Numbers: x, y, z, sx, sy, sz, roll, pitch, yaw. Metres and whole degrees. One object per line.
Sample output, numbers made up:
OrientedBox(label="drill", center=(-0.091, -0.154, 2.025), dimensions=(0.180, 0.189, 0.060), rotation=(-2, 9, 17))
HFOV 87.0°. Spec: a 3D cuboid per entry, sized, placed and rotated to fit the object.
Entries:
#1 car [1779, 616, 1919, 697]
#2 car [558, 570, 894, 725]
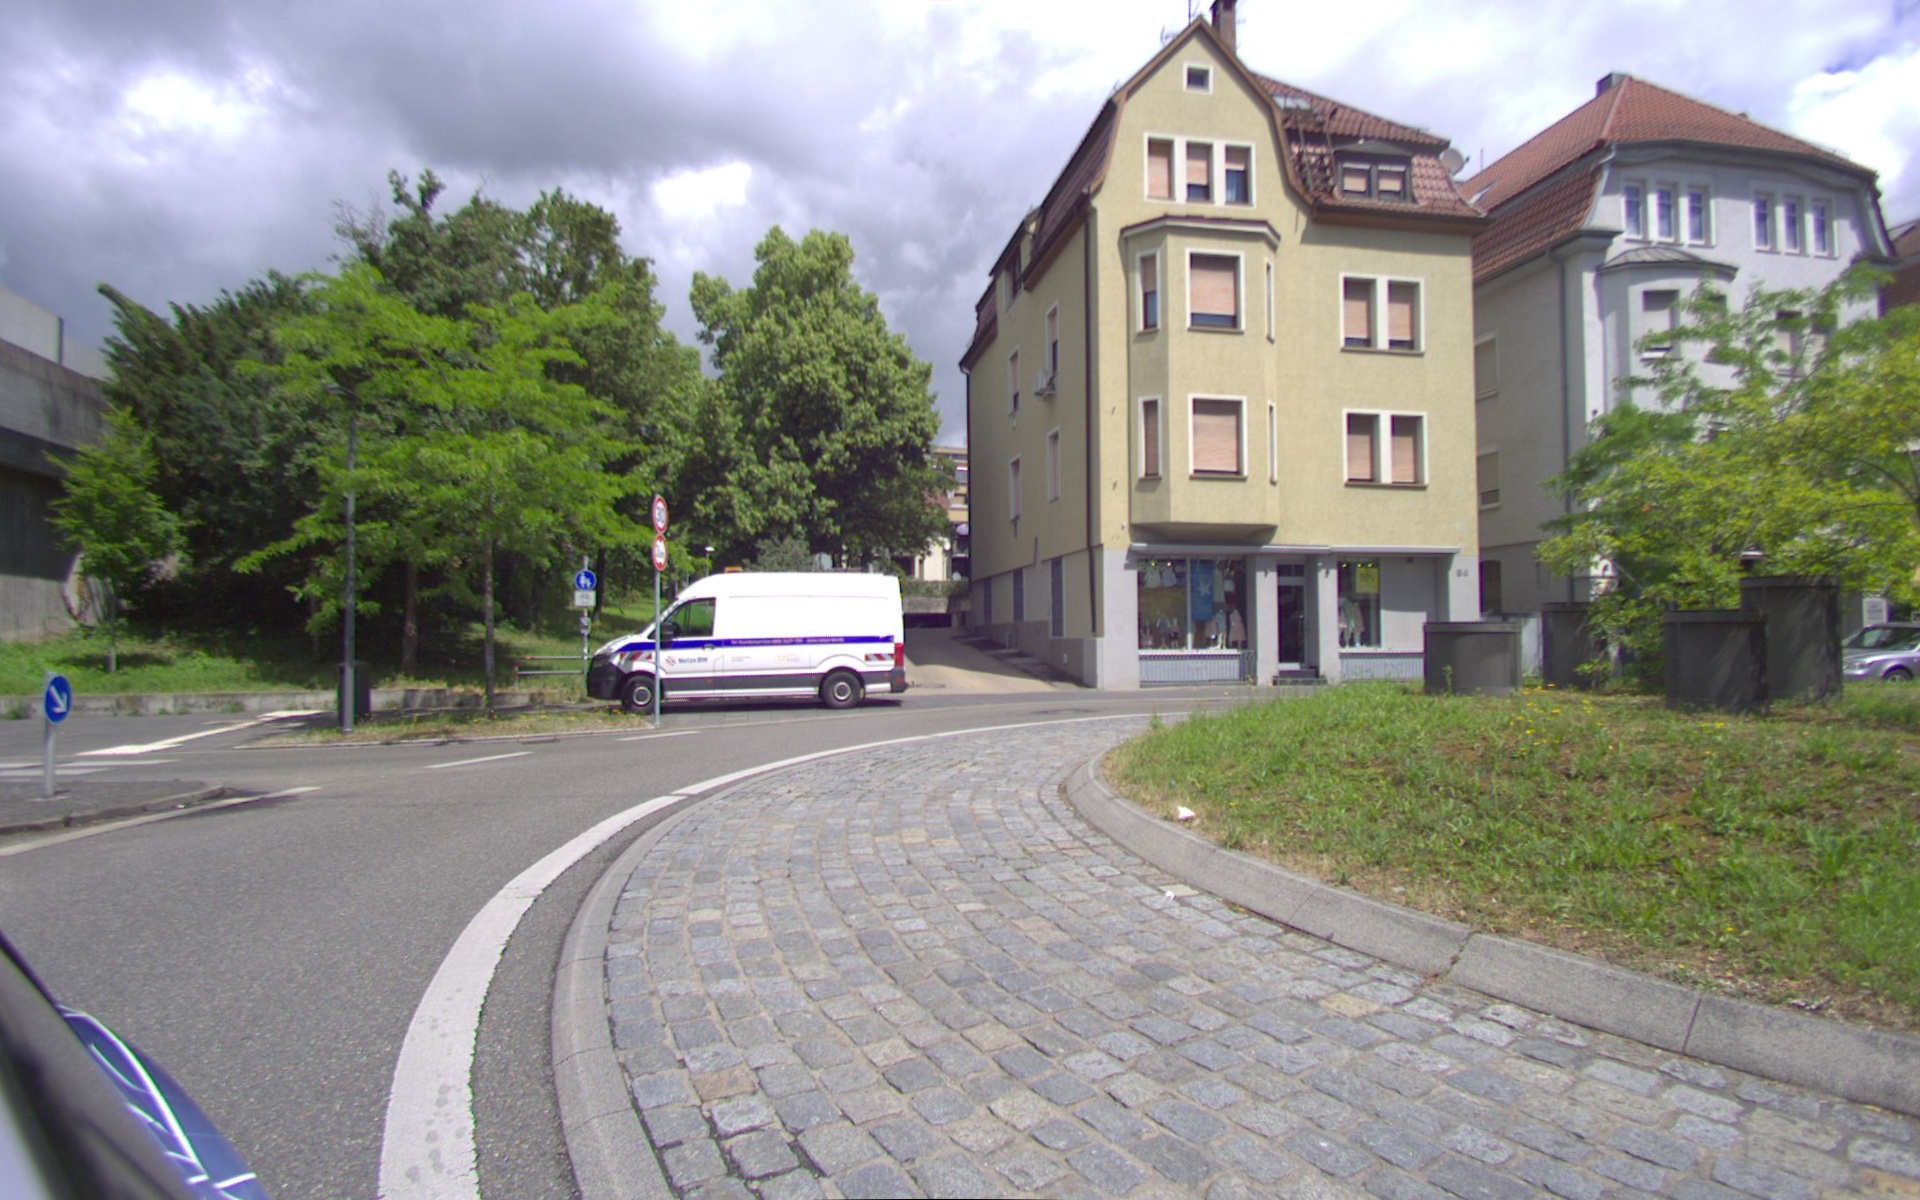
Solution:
OrientedBox(label="car", center=(17.299, 0.983, 18.224), dimensions=(3.936, 1.364, 1.718), rotation=(0, -2, -9))
OrientedBox(label="car", center=(-4.316, 0.808, 19.033), dimensions=(5.830, 2.626, 1.979), rotation=(-1, -1, -15))
